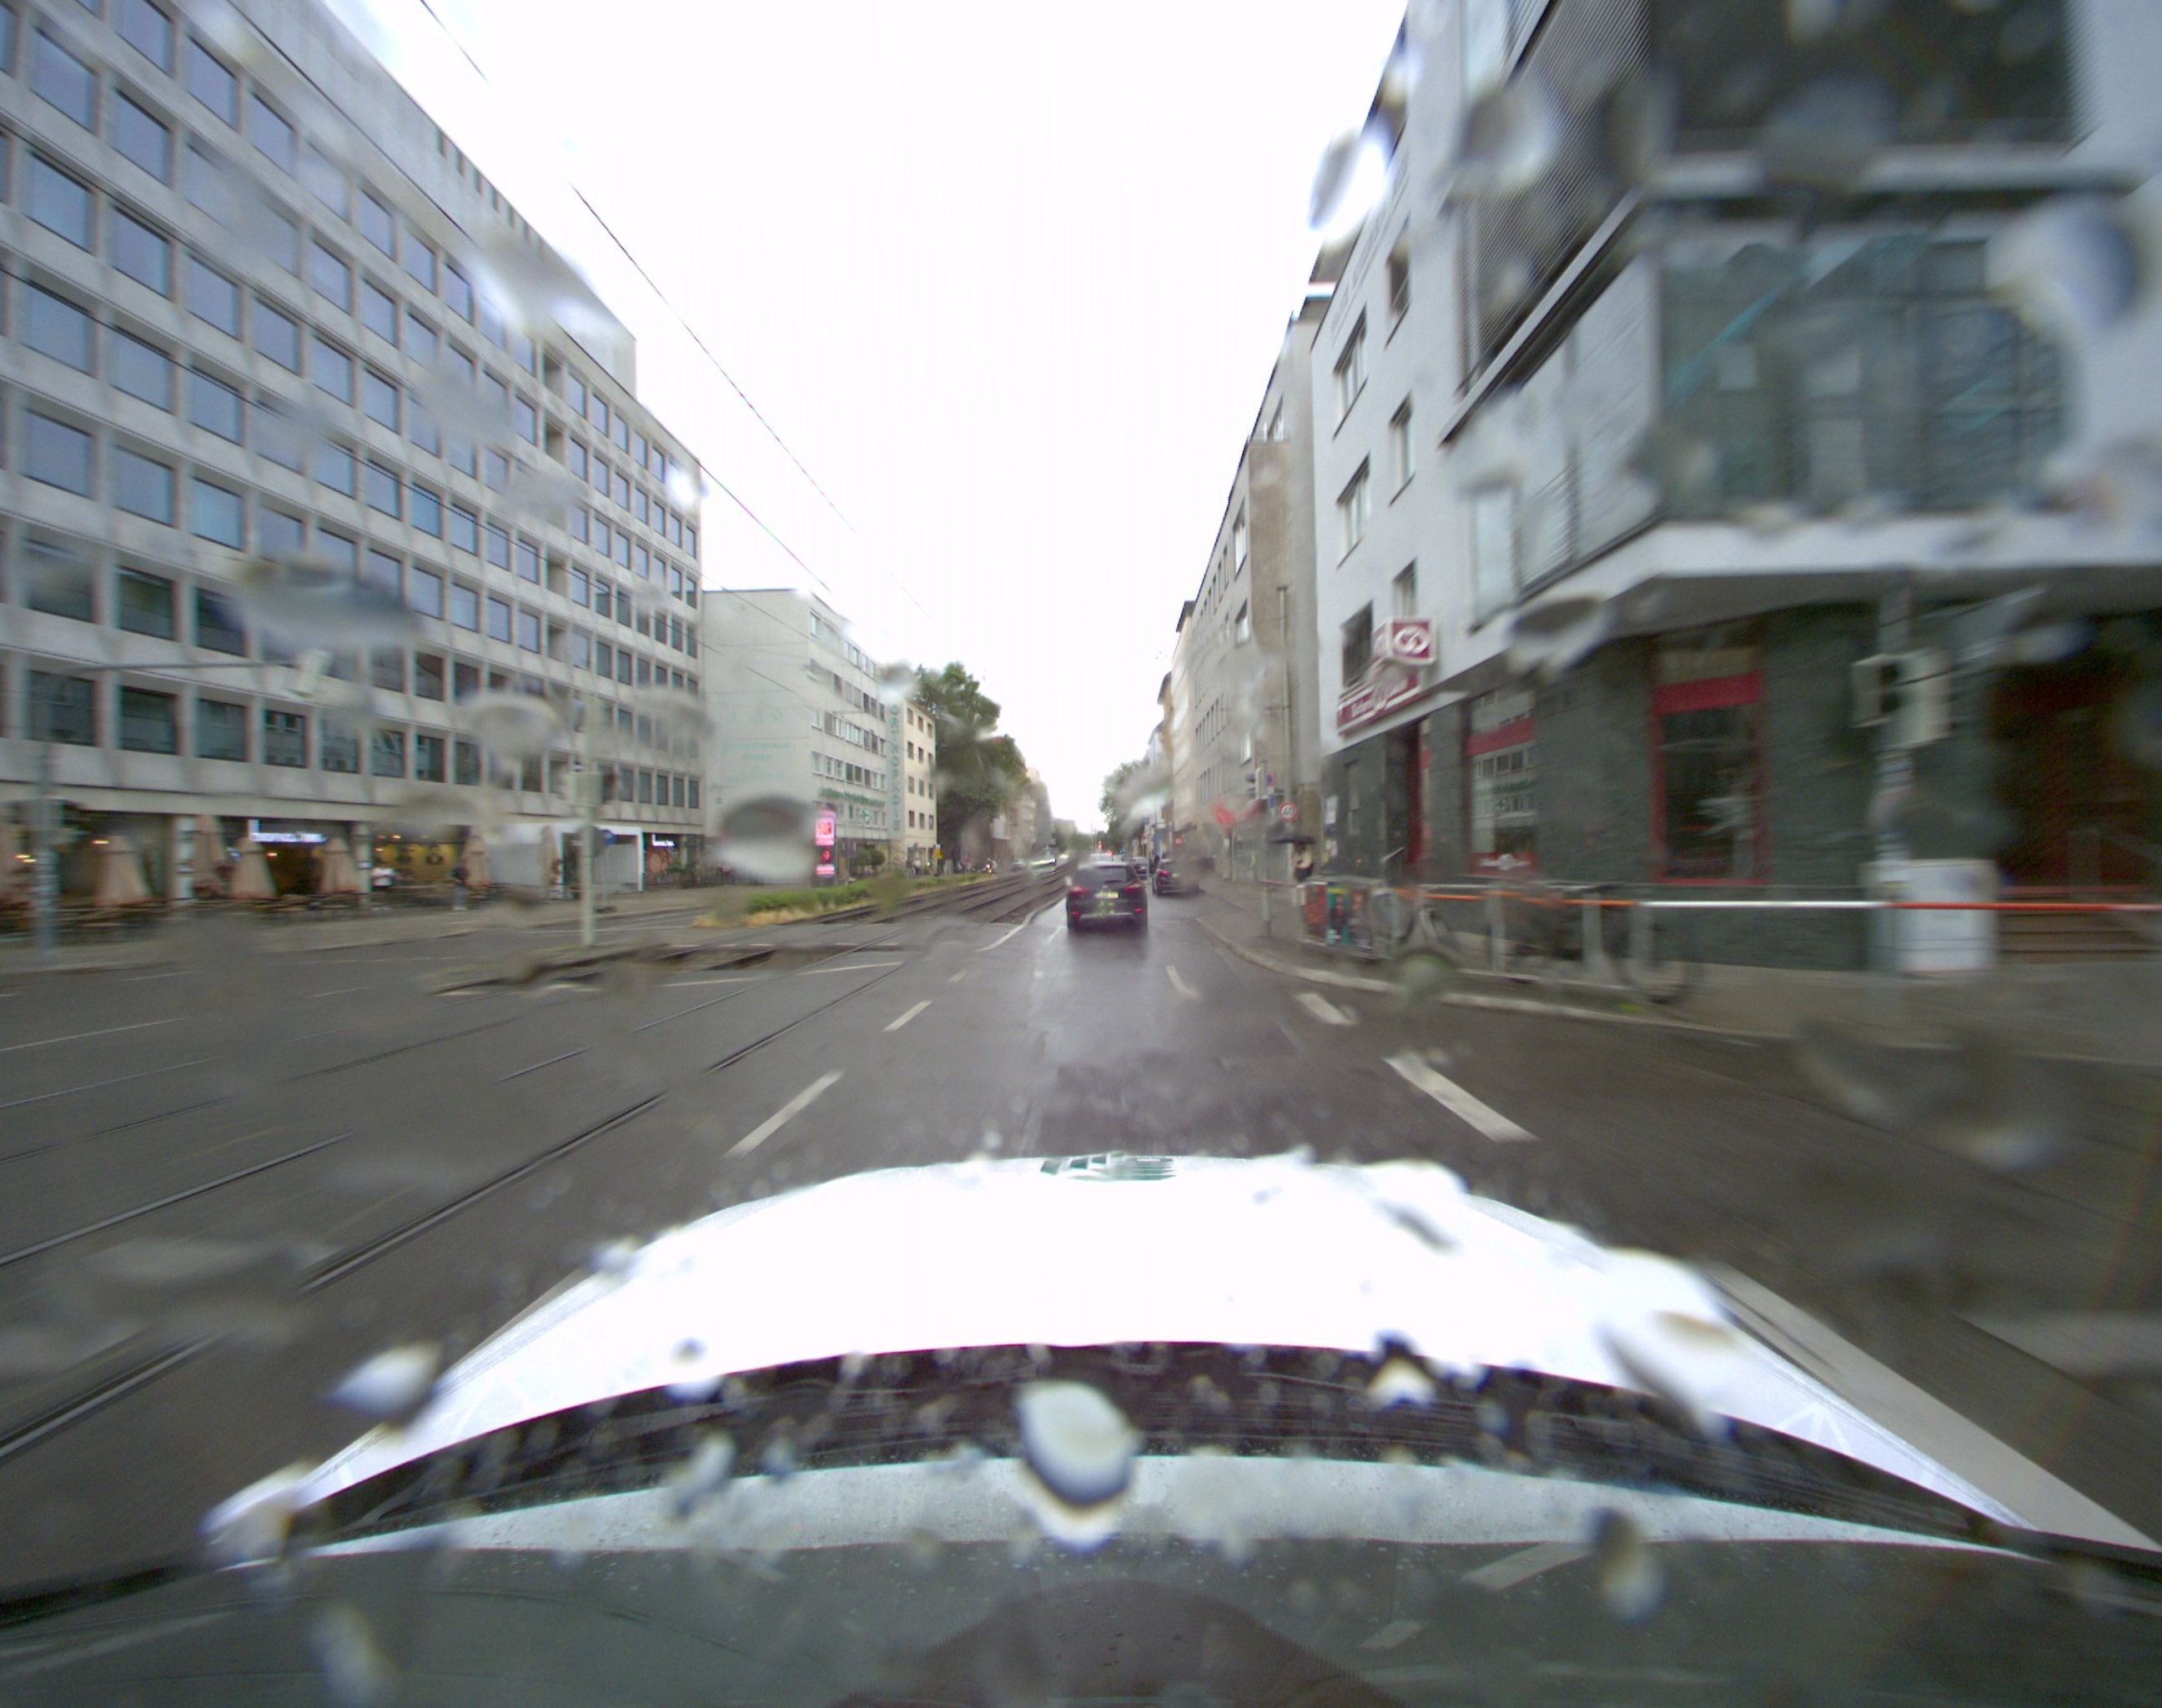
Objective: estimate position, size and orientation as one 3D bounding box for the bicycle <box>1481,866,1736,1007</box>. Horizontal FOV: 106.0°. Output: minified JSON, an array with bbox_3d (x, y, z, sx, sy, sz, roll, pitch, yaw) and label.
[{"bbox_3d":[4.895,0.706,7.714,0.580,1.157,1.935,0,-1,-34],"label":"bicycle"}]

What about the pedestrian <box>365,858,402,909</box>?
[{"bbox_3d":[-24.360,1.008,28.464,0.563,1.748,0.844,-1,-1,-2],"label":"pedestrian"}]

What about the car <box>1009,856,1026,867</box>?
[{"bbox_3d":[-9.386,1.111,121.405,1.986,1.519,4.437,-1,0,2],"label":"car"}]

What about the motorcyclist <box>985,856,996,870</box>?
[{"bbox_3d":[-7.908,0.795,71.022,0.738,1.217,0.971,-1,-1,4],"label":"motorcyclist"}]

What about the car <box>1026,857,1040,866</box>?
[{"bbox_3d":[-8.279,1.247,142.201,1.986,1.519,4.678,-1,0,2],"label":"car"}]

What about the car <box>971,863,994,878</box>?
[{"bbox_3d":[-10.580,1.779,88.007,1.737,1.469,4.221,-3,-1,2],"label":"car"}]

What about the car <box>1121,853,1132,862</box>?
[{"bbox_3d":[7.457,0.579,133.030,1.637,1.516,4.040,-1,0,1],"label":"car"}]

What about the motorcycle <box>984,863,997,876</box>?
[{"bbox_3d":[-7.902,1.363,71.067,0.739,1.060,1.933,-1,-1,4],"label":"motorcycle"}]

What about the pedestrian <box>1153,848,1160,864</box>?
[{"bbox_3d":[8.622,0.260,93.075,0.659,1.852,0.821,-1,0,1],"label":"pedestrian"}]

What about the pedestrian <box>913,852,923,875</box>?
[{"bbox_3d":[-13.911,0.796,69.572,0.676,1.896,0.743,-1,-1,2],"label":"pedestrian"}]

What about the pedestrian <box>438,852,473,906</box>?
[{"bbox_3d":[-21.590,0.861,28.139,0.563,1.823,0.844,-1,-1,-2],"label":"pedestrian"}]

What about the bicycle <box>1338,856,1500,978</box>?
[{"bbox_3d":[3.844,0.677,9.454,0.499,1.259,1.942,0,-1,-22],"label":"bicycle"}]

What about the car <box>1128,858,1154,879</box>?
[{"bbox_3d":[4.782,1.168,65.436,1.985,1.594,4.574,-2,-1,2],"label":"car"}]

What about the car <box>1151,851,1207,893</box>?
[{"bbox_3d":[4.010,0.753,33.966,1.985,1.594,4.273,-2,-1,2],"label":"car"}]

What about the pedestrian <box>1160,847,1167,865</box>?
[{"bbox_3d":[9.407,0.220,93.195,0.733,2.013,0.821,-1,0,1],"label":"pedestrian"}]

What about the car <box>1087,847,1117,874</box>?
[{"bbox_3d":[1.541,0.514,58.437,1.985,1.816,4.273,-2,-1,2],"label":"car"}]

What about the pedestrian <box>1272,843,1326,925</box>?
[{"bbox_3d":[4.316,0.589,16.182,0.661,1.582,0.774,-1,-1,-20],"label":"pedestrian"}]

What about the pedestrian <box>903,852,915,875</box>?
[{"bbox_3d":[-14.690,0.823,69.665,0.724,1.896,0.983,-1,-1,2],"label":"pedestrian"}]

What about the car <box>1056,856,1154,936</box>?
[{"bbox_3d":[0.589,0.906,19.052,1.985,1.594,4.273,-2,-1,2],"label":"car"}]

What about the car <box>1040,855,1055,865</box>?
[{"bbox_3d":[-5.247,0.877,128.963,1.986,1.519,4.446,-1,0,2],"label":"car"}]

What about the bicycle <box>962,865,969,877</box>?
[{"bbox_3d":[-12.112,1.764,85.327,0.590,1.227,2.399,-1,-1,-5],"label":"bicycle"}]

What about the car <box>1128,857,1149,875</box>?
[{"bbox_3d":[5.421,1.093,76.755,1.739,1.523,4.356,-1,0,2],"label":"car"}]

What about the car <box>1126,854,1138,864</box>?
[{"bbox_3d":[7.972,0.758,128.599,1.732,1.489,4.001,-1,0,1],"label":"car"}]
